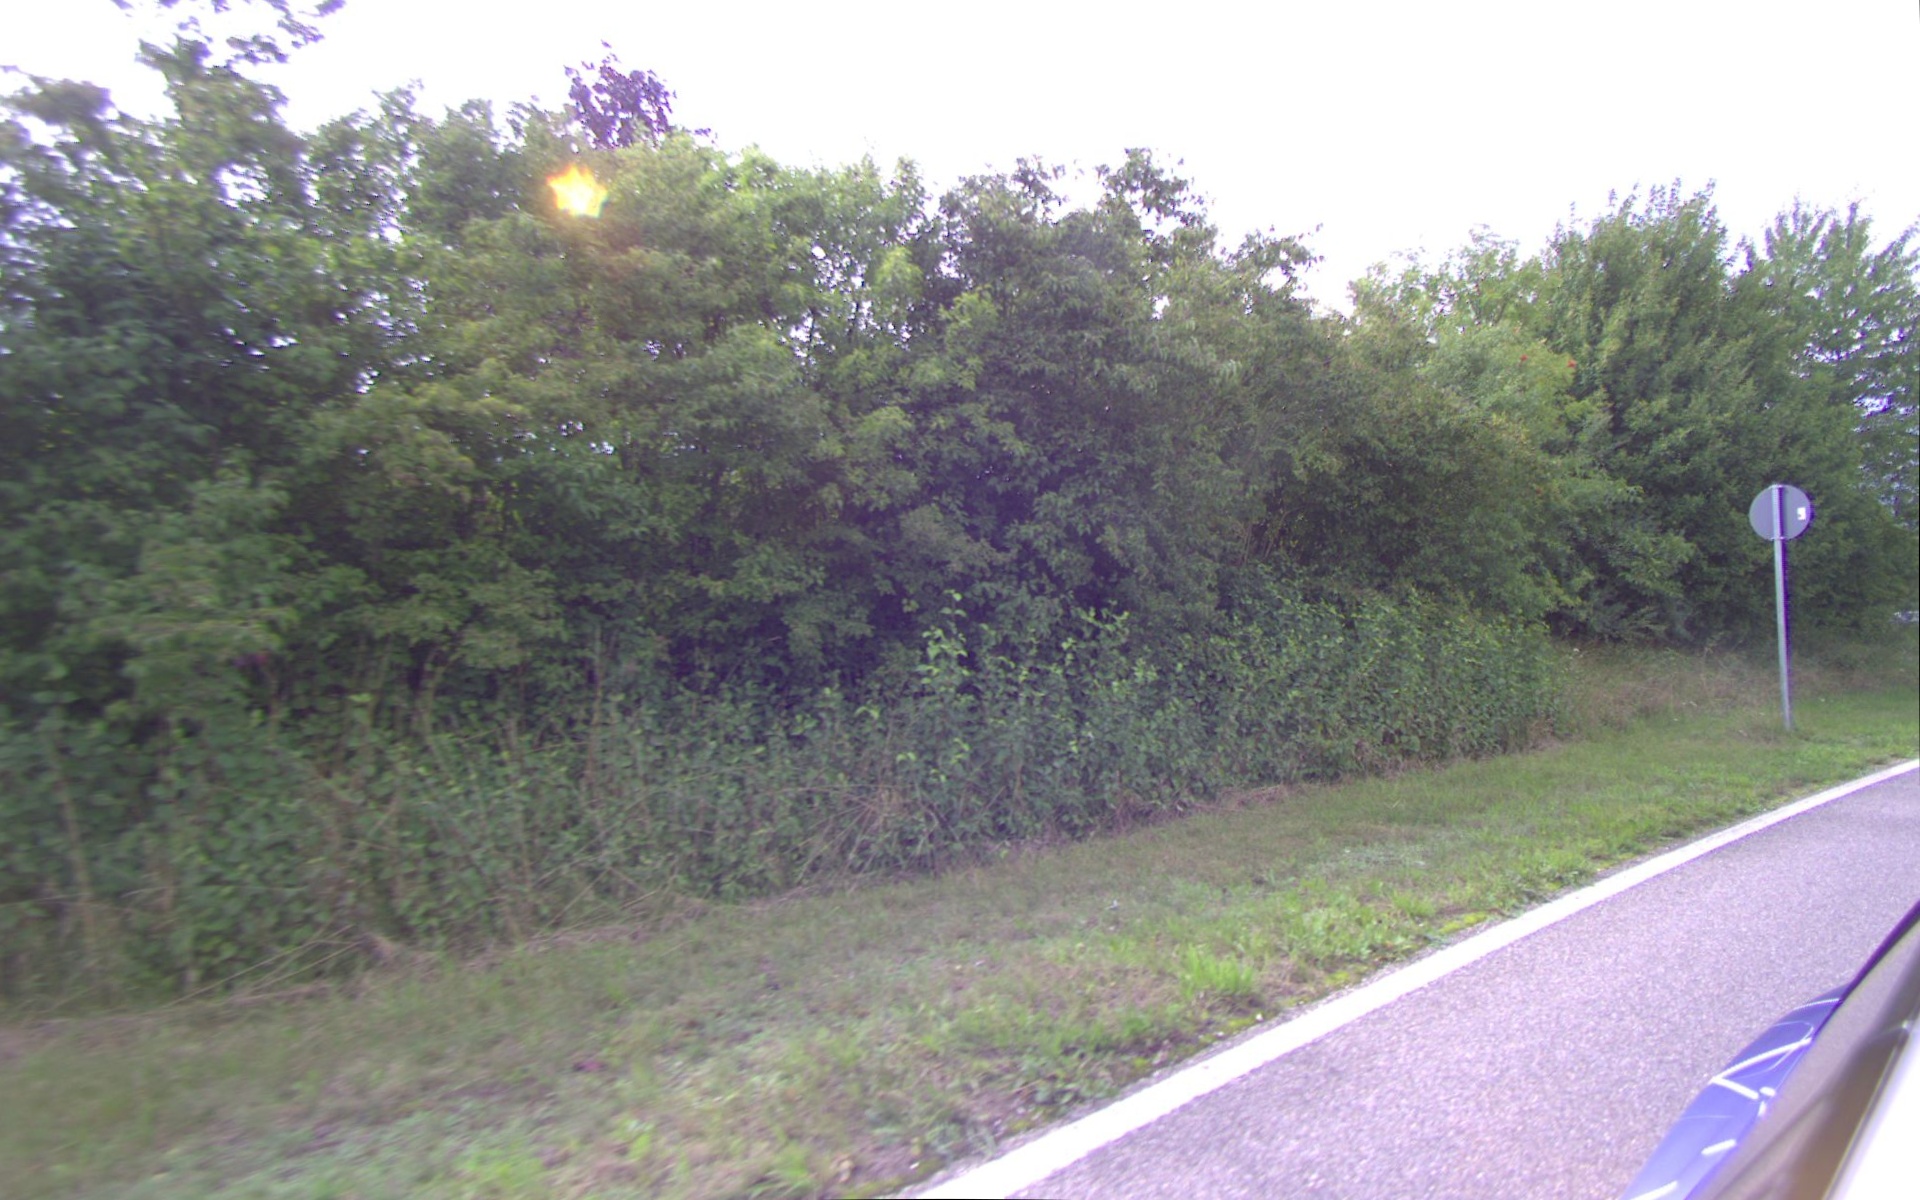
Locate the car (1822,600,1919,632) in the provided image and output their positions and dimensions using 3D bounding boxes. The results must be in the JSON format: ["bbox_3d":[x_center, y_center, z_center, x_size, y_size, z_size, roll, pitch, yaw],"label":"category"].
[{"bbox_3d":[47.914,0.808,52.512,1.962,1.601,4.492,0,-1,-35],"label":"car"}]

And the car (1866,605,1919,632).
[{"bbox_3d":[52.843,1.009,55.661,1.962,1.432,4.165,0,-1,-35],"label":"car"}]

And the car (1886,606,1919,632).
[{"bbox_3d":[55.699,1.079,57.603,2.010,1.524,4.015,0,-1,-29],"label":"car"}]
